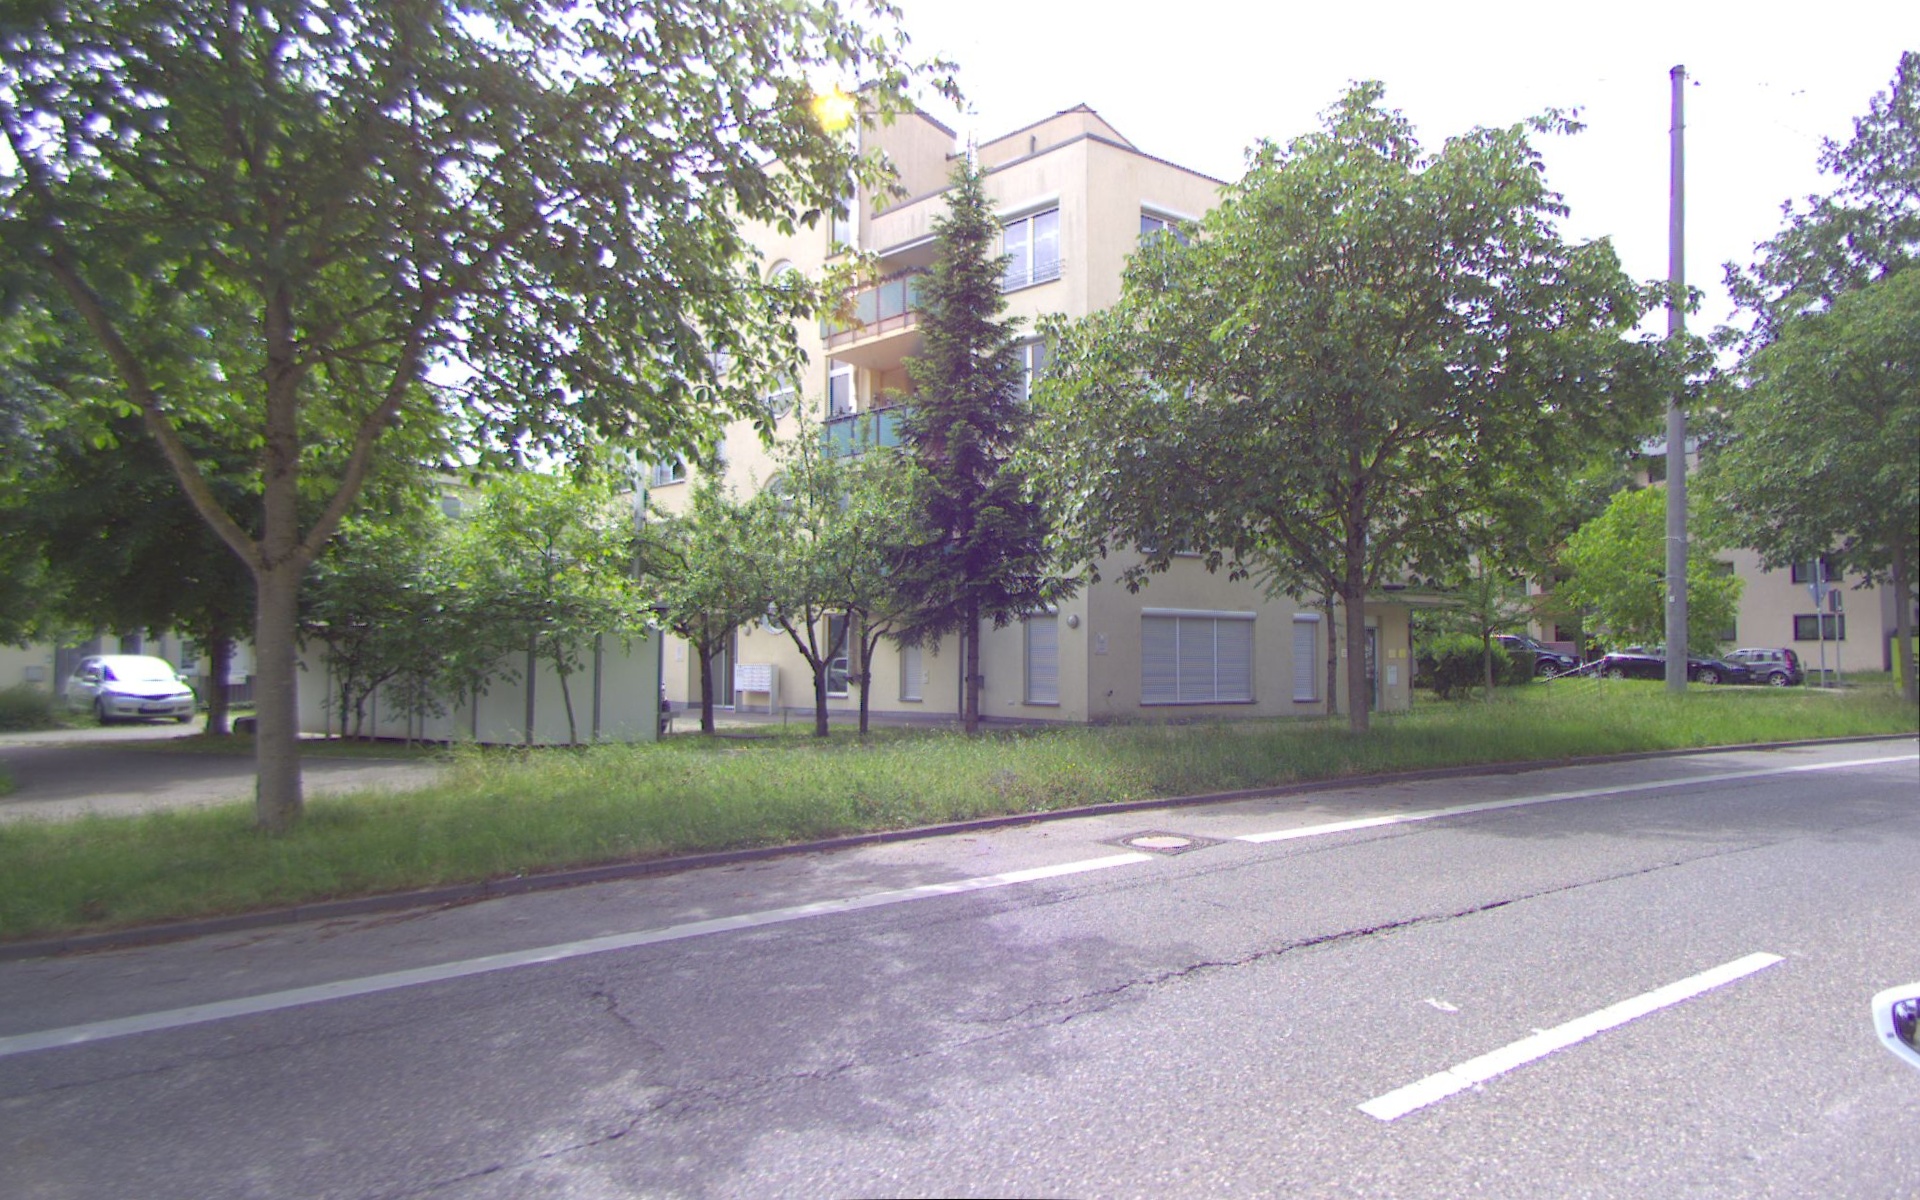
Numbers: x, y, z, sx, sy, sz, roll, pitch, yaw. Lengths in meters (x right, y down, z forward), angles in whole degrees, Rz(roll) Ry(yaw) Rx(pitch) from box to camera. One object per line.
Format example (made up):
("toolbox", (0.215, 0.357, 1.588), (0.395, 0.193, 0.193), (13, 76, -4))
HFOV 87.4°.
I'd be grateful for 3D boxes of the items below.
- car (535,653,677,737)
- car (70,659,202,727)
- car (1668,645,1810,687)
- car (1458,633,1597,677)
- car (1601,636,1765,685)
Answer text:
("car", (-7.141, 1.830, 20.141), (1.423, 1.469, 3.354), (3, -3, -43))
("car", (-18.705, 2.084, 22.763), (3.363, 1.415, 1.824), (-5, -6, 42))
("car", (30.389, 2.569, 39.300), (1.776, 1.417, 4.055), (6, -4, -32))
("car", (21.205, 2.068, 37.685), (1.881, 1.543, 4.153), (2, -4, -32))
("car", (23.825, 1.980, 33.249), (1.776, 1.417, 4.055), (6, -4, -32))
